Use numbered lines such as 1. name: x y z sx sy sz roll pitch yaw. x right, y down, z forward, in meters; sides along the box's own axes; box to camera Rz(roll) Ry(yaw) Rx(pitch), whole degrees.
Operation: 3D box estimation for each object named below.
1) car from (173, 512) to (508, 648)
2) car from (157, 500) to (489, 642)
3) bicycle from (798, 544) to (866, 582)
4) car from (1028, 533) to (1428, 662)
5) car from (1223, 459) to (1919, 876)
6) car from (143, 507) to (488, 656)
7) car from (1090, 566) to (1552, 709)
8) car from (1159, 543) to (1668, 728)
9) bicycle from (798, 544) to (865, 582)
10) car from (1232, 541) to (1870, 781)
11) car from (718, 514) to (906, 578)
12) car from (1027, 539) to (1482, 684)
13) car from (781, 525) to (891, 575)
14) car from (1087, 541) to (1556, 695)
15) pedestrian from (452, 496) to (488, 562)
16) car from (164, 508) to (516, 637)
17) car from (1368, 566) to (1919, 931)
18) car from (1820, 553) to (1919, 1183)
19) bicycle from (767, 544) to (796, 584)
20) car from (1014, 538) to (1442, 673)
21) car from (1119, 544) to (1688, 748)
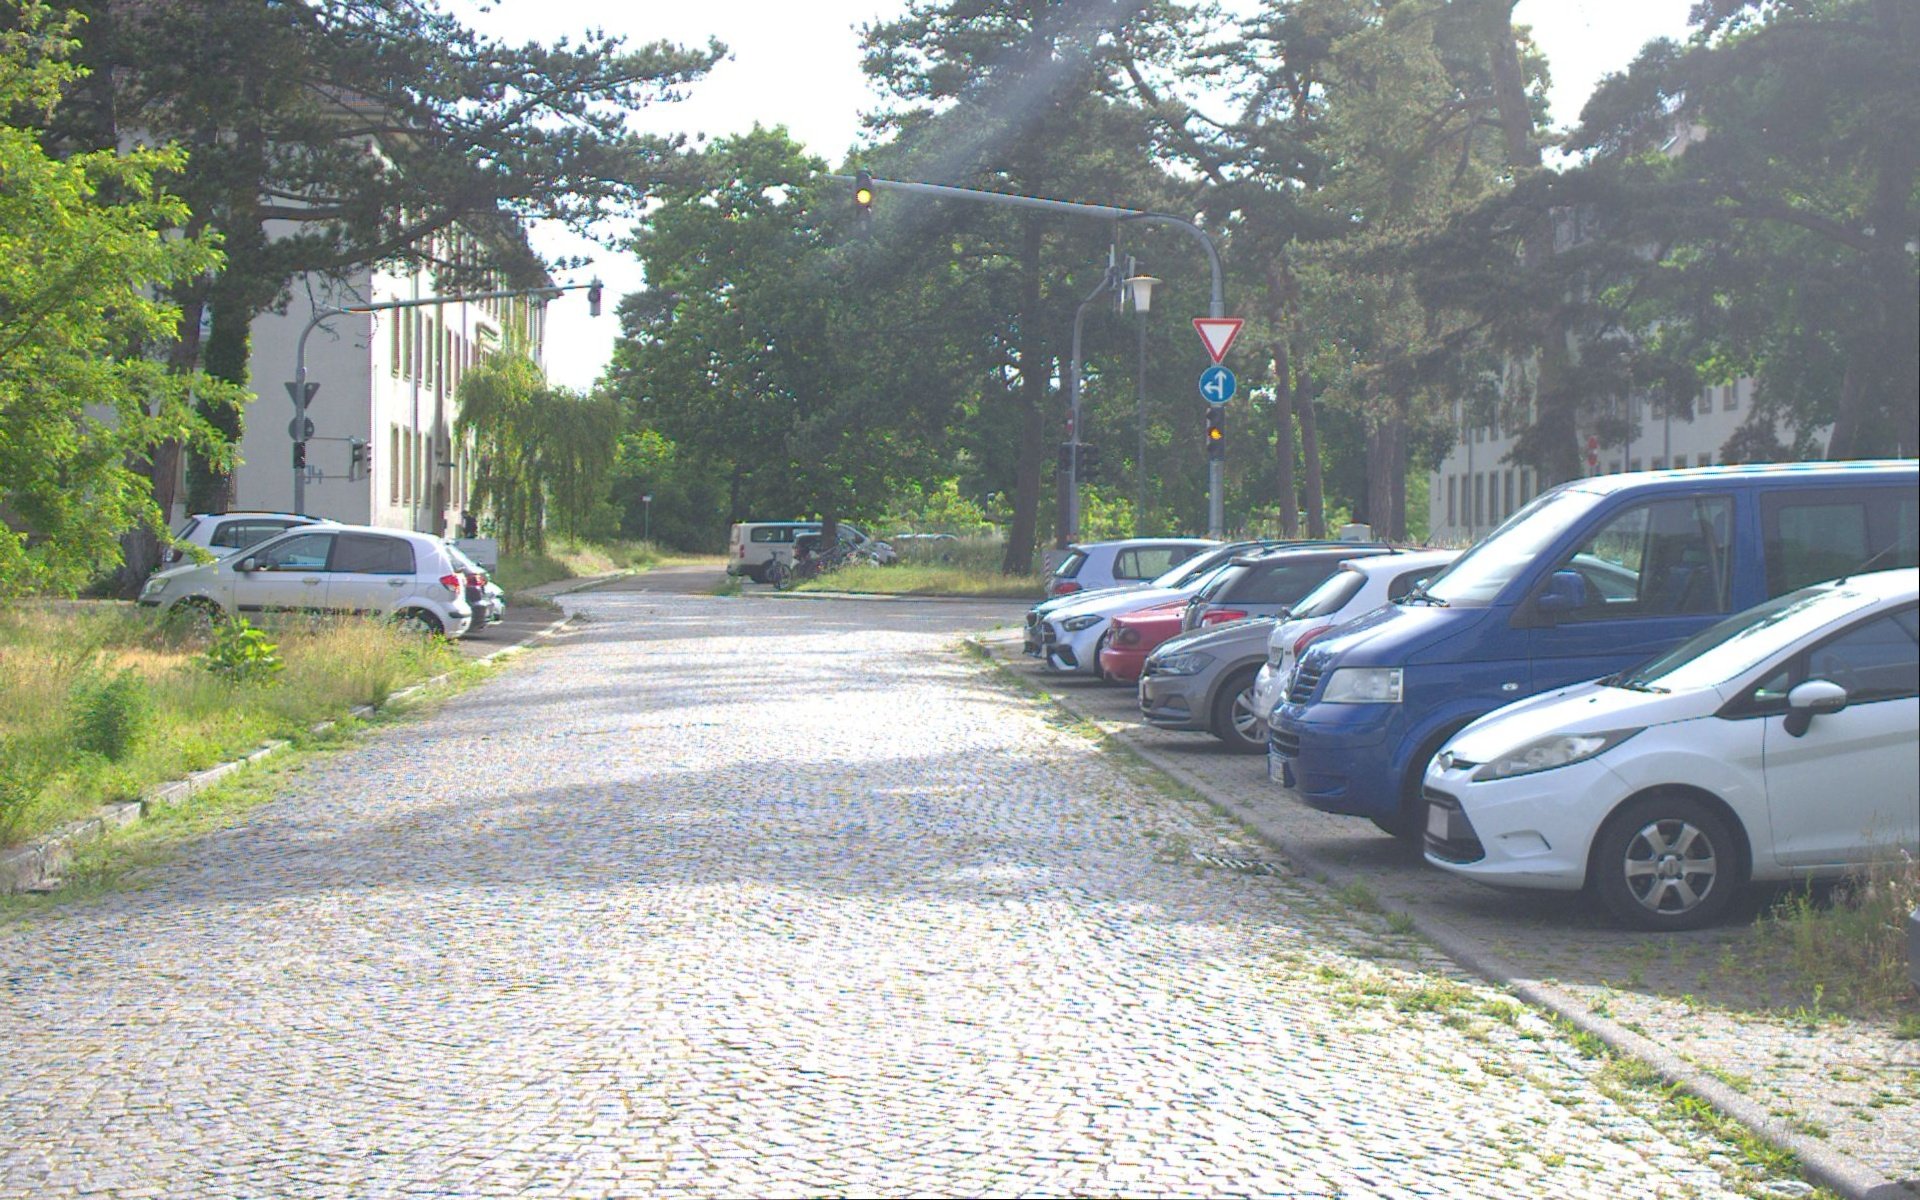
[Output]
1. car: -7.614 -0.250 42.533 3.828 1.424 1.859 3 0 -4
2. car: -8.316 -0.382 45.195 4.120 1.594 1.859 3 0 -8
3. bicycle: -3.433 -0.989 92.119 1.792 0.995 0.644 0 2 -4
4. car: 3.174 -0.043 41.298 4.543 1.500 1.933 0 1 -5
5. car: 3.845 0.286 17.476 4.732 1.922 1.992 -1 1 -4
6. car: -7.426 -0.219 39.884 3.682 1.468 1.850 3 0 -5
7. car: 3.228 0.319 31.239 3.950 1.256 1.727 0 1 -3
8. car: 3.718 0.276 28.620 3.950 1.490 1.772 0 1 -3
9. bicycle: -3.493 -0.999 93.138 1.792 0.995 0.644 0 2 -4
10. car: 3.848 0.379 22.839 3.874 1.525 1.808 0 1 -3
11. car: -4.648 -1.679 108.008 5.499 1.909 2.255 1 0 -17
12. car: 3.020 0.100 35.880 4.506 1.468 1.850 0 1 -3
13. car: -3.777 -1.503 104.482 3.031 1.460 1.720 1 0 -16
14. car: 3.486 0.158 33.630 4.340 1.468 1.740 0 1 -3
15. pedestrian: -14.807 -2.146 103.910 0.985 1.956 0.933 1 0 -4
16. car: -8.551 -0.394 47.729 4.586 1.450 1.904 3 2 -5
17. car: 4.040 0.587 14.975 4.189 1.465 1.808 0 1 -7
18. car: 4.514 0.674 8.634 4.190 1.583 1.878 0 1 -4
19. bicycle: -4.598 -0.932 88.467 0.728 0.995 1.799 0 2 -3
20. car: 2.972 0.047 38.660 4.505 1.468 1.896 0 1 -7
21. car: 3.243 0.317 25.669 3.950 1.462 1.831 0 1 -3
